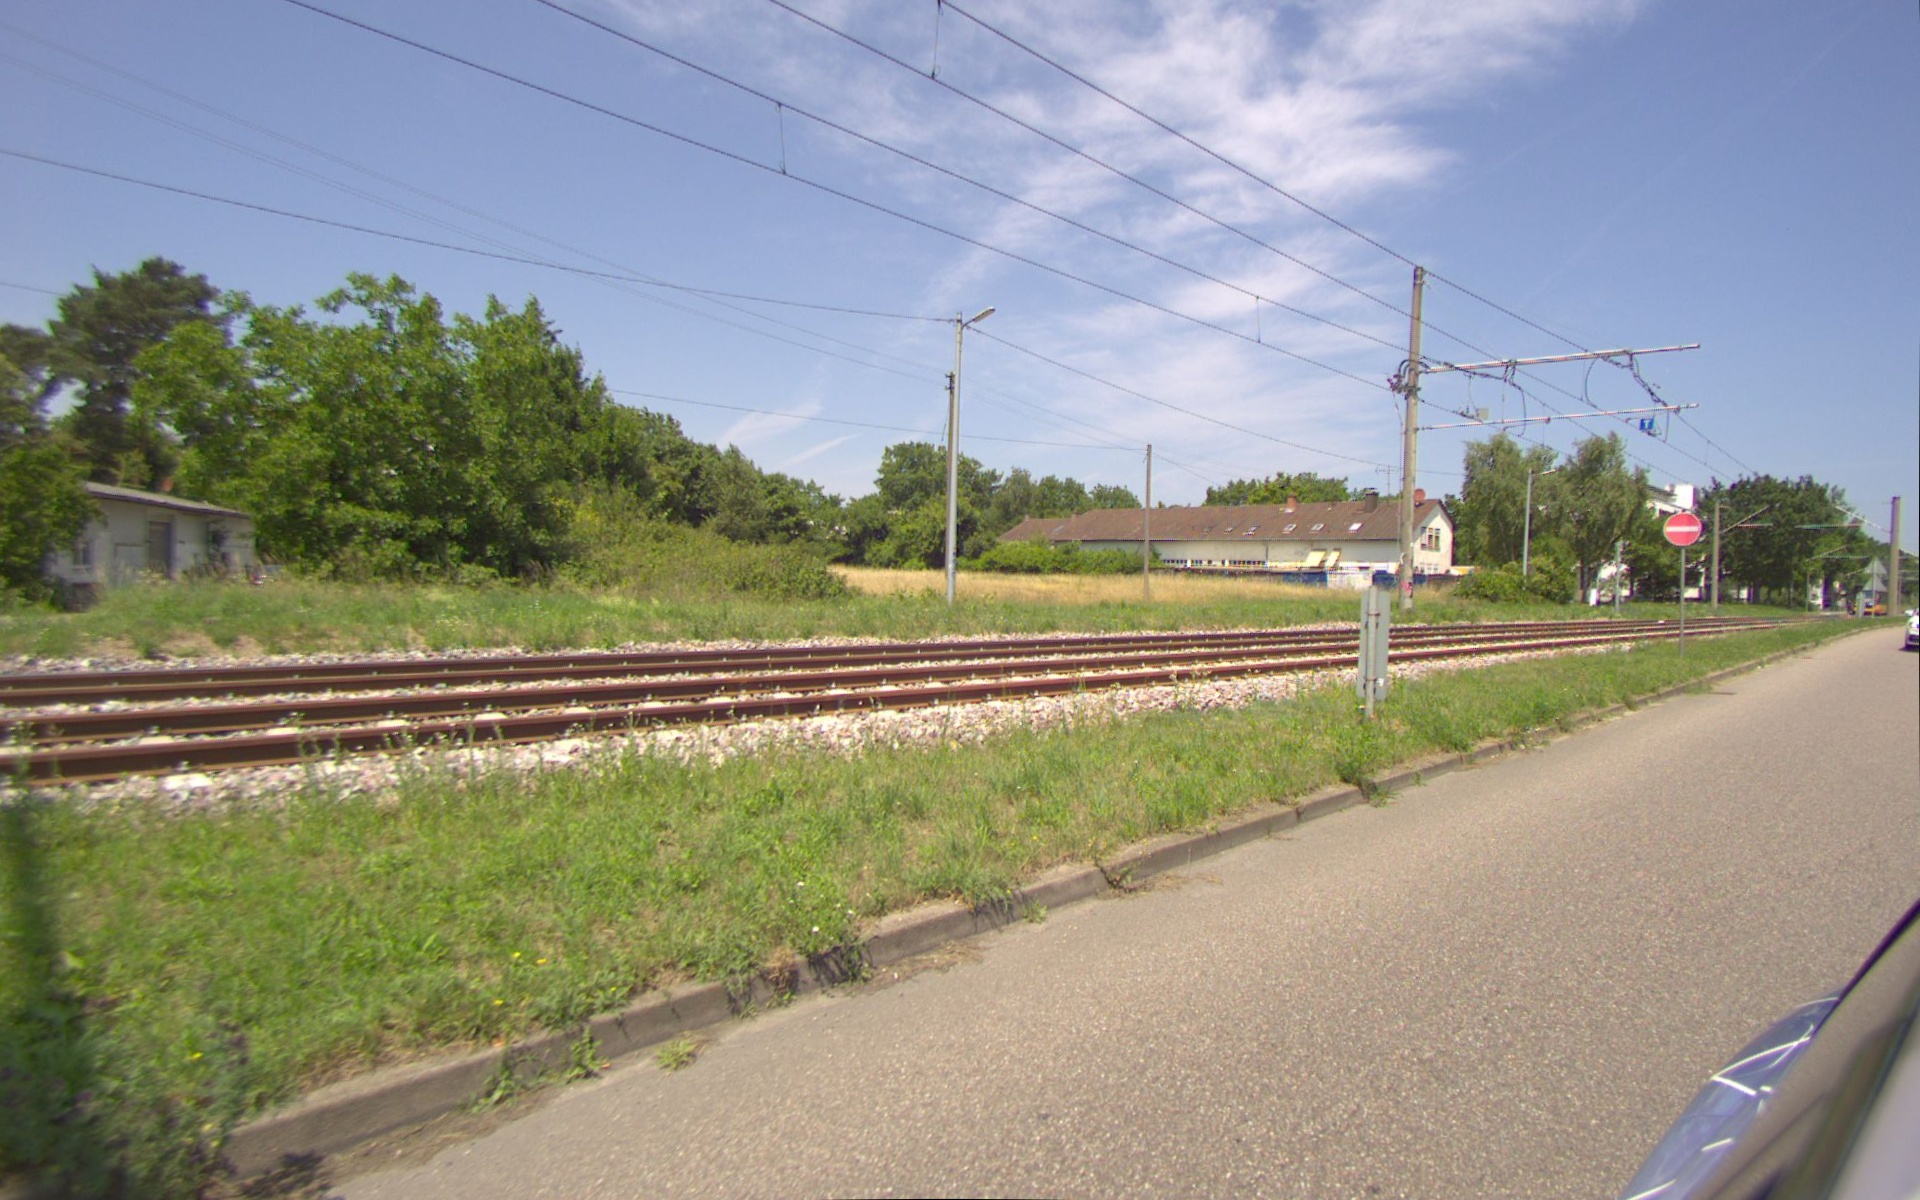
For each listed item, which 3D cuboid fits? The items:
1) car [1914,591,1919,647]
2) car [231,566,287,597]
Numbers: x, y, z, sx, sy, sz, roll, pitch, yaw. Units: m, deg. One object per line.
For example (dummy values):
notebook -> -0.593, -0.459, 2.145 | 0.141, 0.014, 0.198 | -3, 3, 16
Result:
car -> 27.102, 0.507, 27.044 | 4.055, 1.460, 1.772 | -1, 2, -39
car -> -35.077, -0.971, 50.738 | 1.960, 1.437, 4.005 | 0, 2, -30
